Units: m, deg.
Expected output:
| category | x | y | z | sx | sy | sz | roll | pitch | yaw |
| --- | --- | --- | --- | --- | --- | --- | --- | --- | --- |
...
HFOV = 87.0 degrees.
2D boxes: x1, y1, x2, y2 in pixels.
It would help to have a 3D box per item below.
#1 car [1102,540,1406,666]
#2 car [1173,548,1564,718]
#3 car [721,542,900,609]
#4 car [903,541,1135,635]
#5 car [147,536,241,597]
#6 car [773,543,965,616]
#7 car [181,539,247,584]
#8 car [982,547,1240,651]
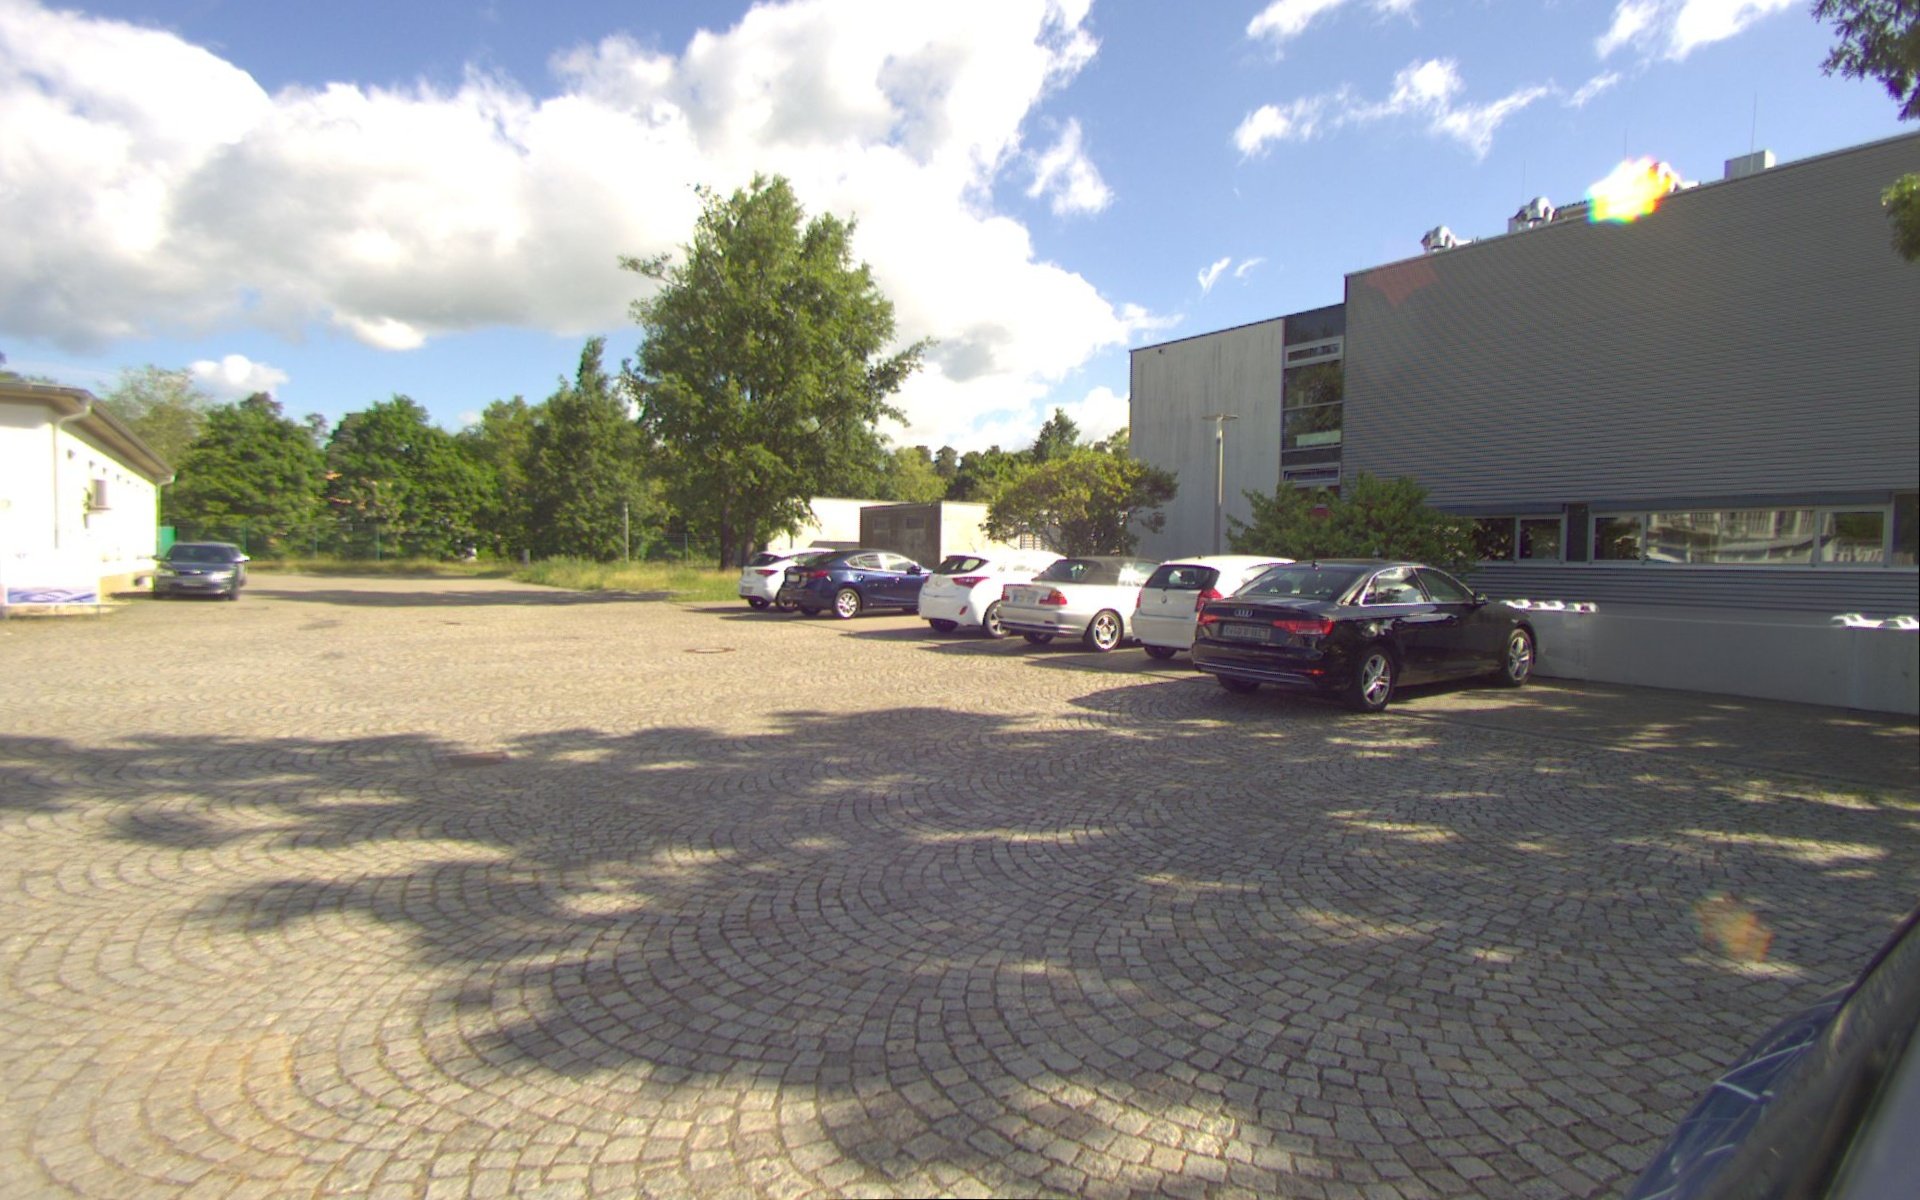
| category | x | y | z | sx | sy | sz | roll | pitch | yaw |
| --- | --- | --- | --- | --- | --- | --- | --- | --- | --- |
| car | 4.104 | -0.058 | 13.979 | 4.069 | 1.477 | 1.694 | -3 | 4 | -30 |
| car | 4.562 | 0.186 | 11.004 | 4.647 | 1.440 | 1.757 | -3 | 4 | -36 |
| car | -3.562 | -0.635 | 24.319 | 3.851 | 1.452 | 1.797 | -3 | 4 | -34 |
| car | 1.085 | -0.292 | 17.966 | 3.851 | 1.464 | 1.756 | -3 | 4 | -34 |
| car | -19.800 | -0.890 | 26.289 | 1.735 | 1.453 | 3.994 | 0 | 2 | -34 |
| car | -1.962 | -0.504 | 22.189 | 3.851 | 1.434 | 1.693 | -3 | 4 | -34 |
| car | -25.660 | -1.328 | 34.908 | 1.660 | 1.453 | 3.989 | 0 | 2 | -34 |
| car | 2.407 | -0.106 | 15.794 | 3.851 | 1.388 | 1.729 | -3 | 4 | -34 |
